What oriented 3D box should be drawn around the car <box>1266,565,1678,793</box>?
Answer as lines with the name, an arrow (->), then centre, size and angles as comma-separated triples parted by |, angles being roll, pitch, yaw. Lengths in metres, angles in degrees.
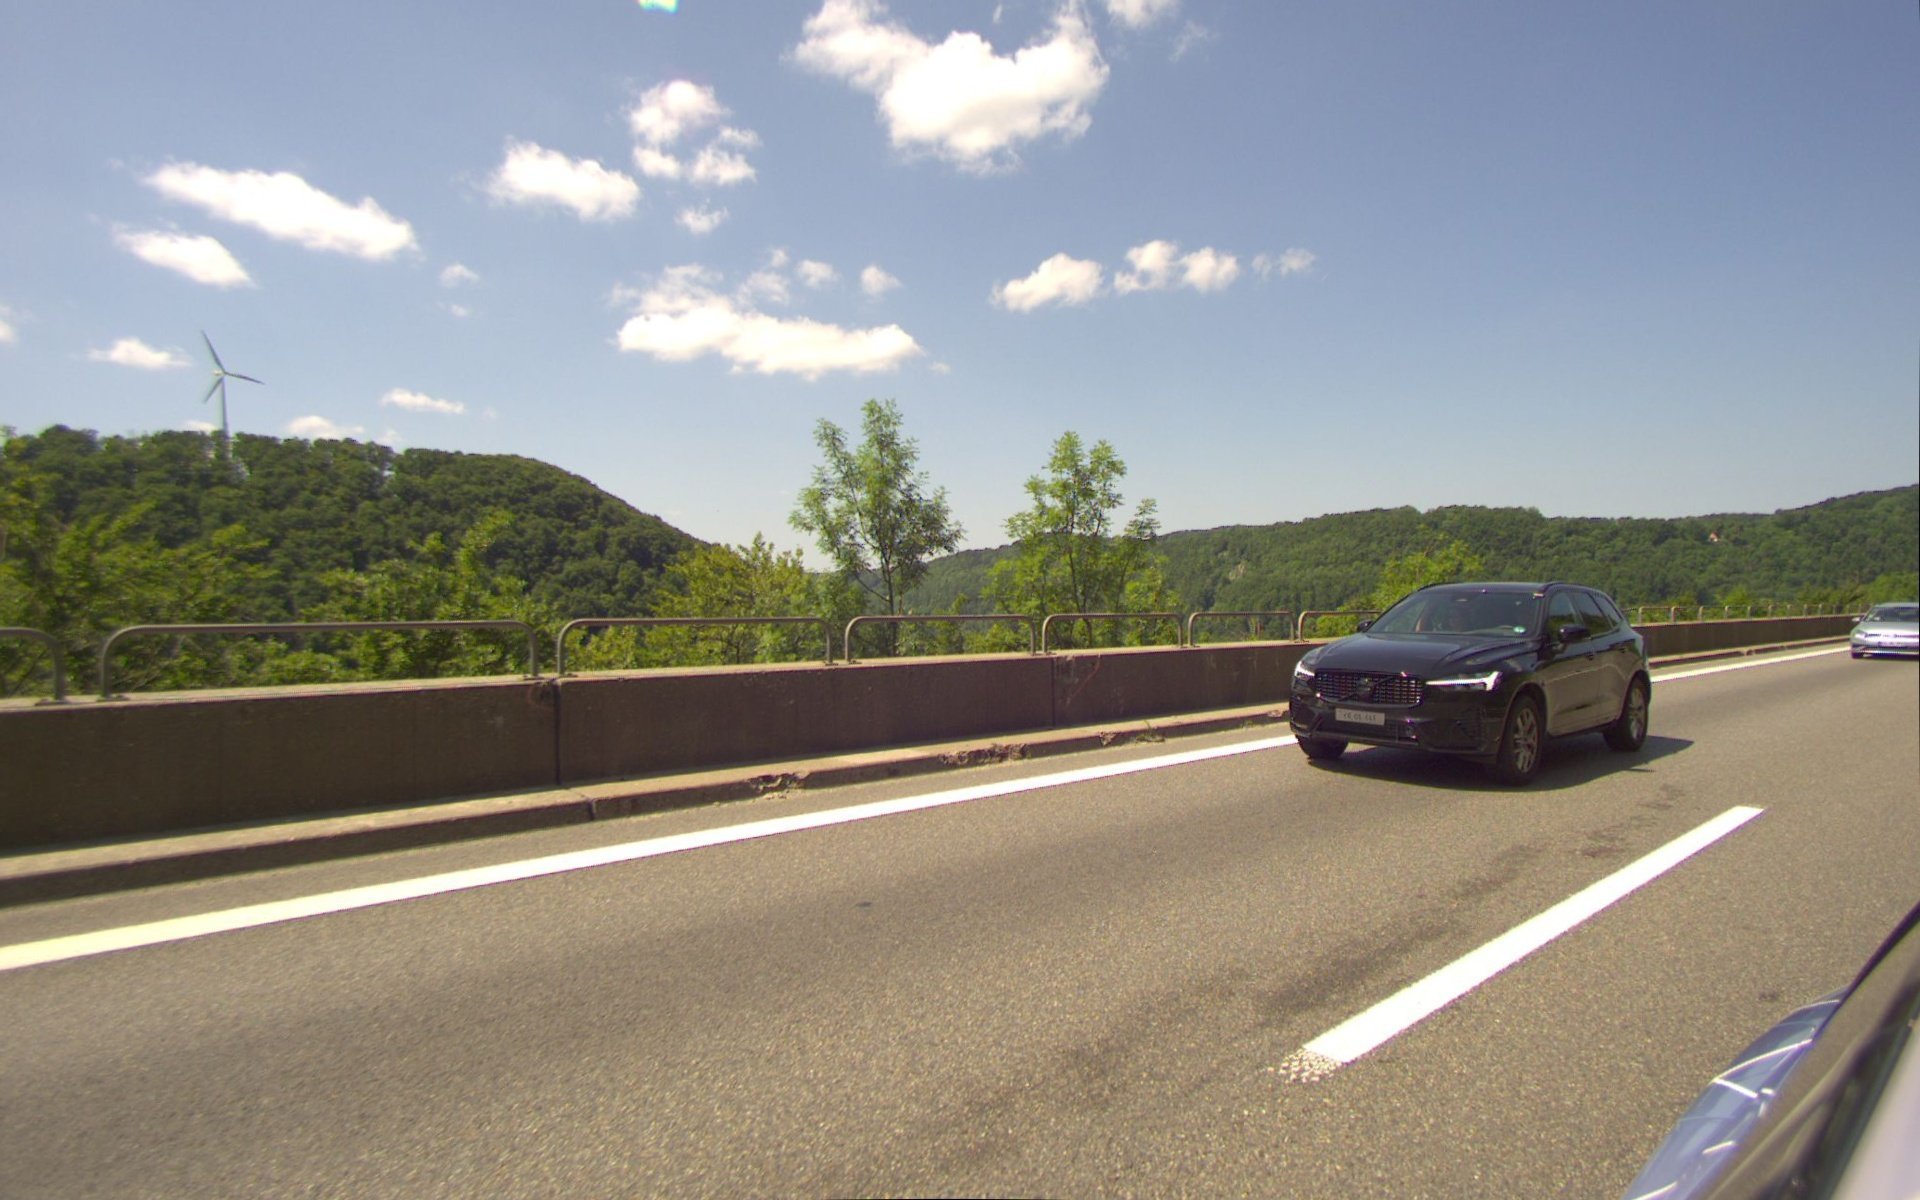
car -> 4.979, 0.566, 9.529 | 4.580, 1.654, 1.838 | 0, 0, -40

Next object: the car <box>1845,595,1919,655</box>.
car -> 24.669, 0.594, 26.123 | 4.215, 1.395, 1.973 | -1, 1, -38
